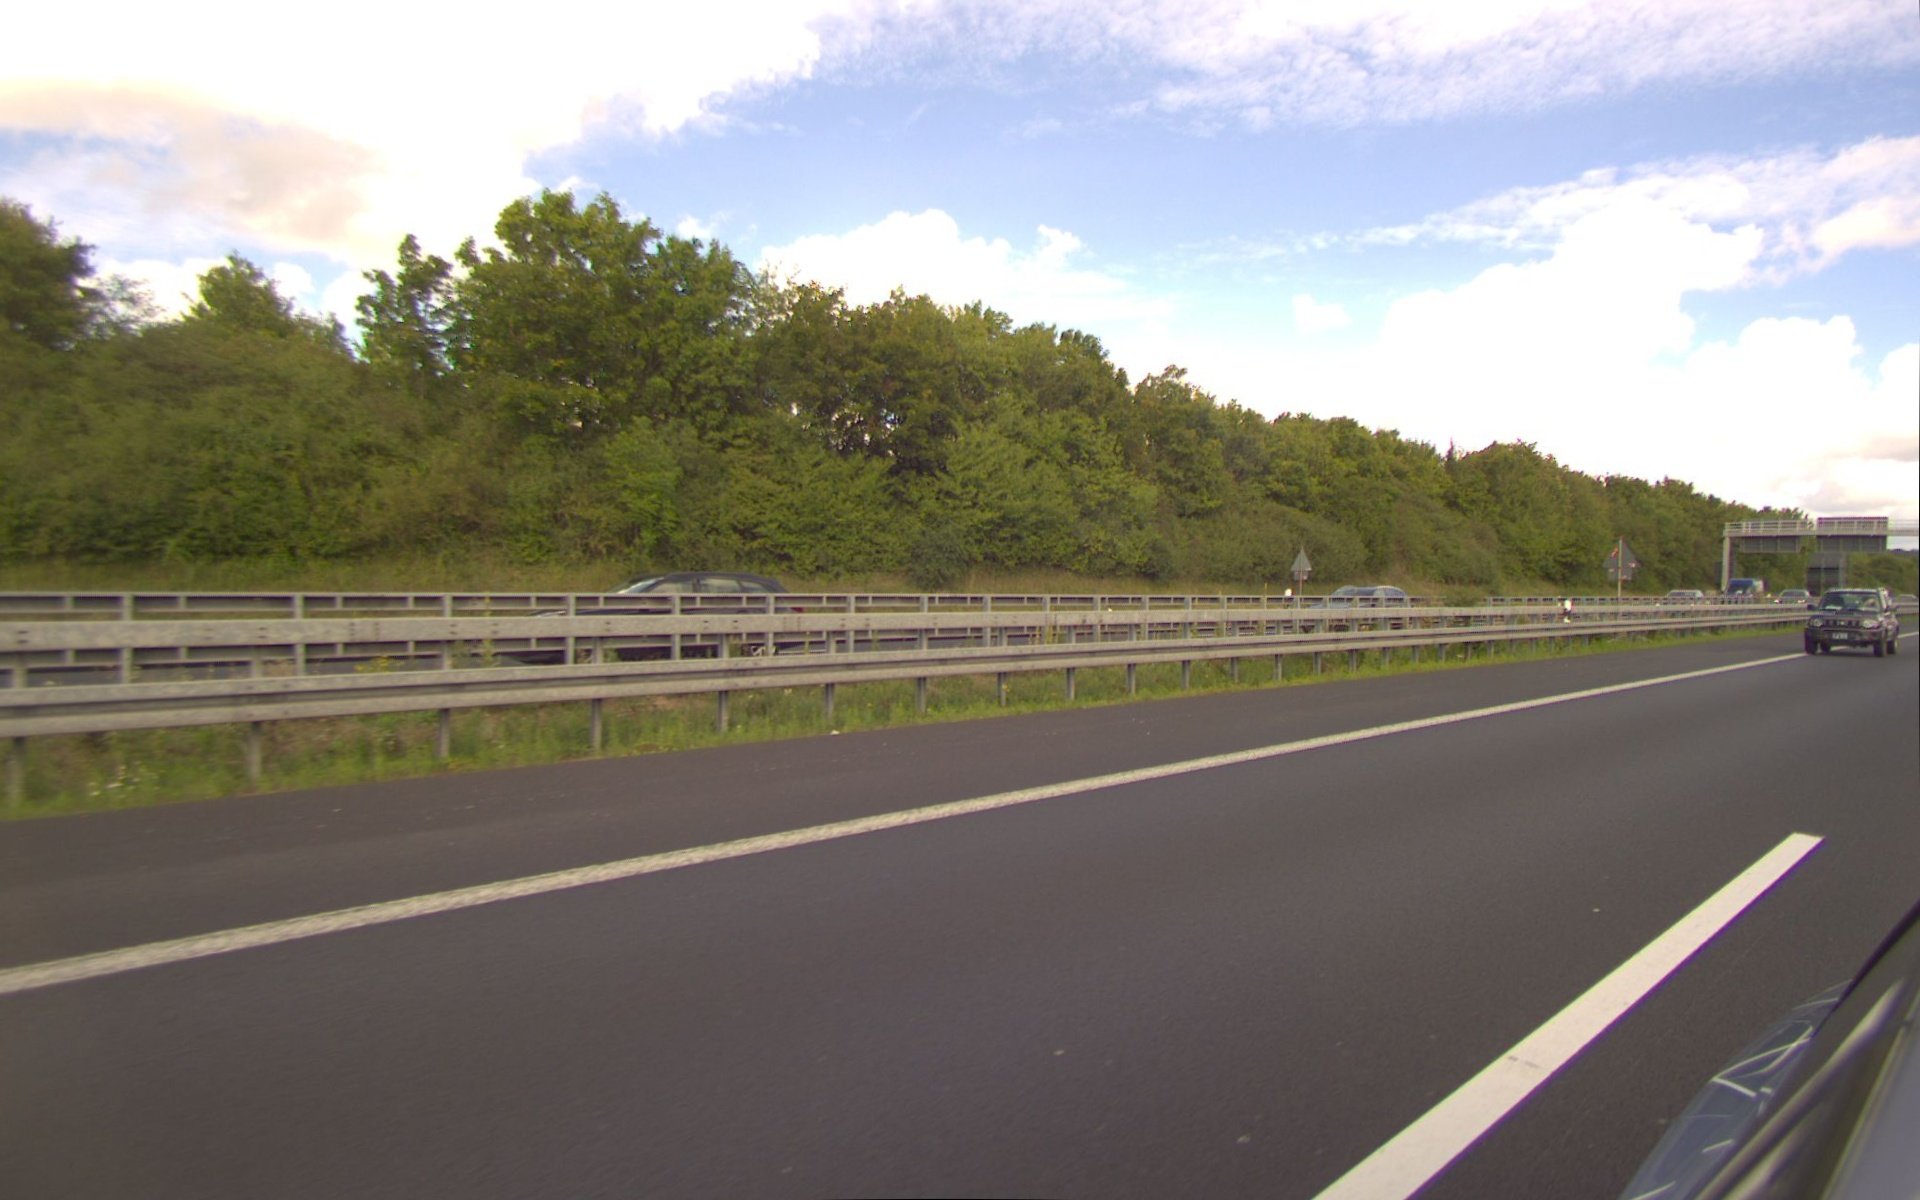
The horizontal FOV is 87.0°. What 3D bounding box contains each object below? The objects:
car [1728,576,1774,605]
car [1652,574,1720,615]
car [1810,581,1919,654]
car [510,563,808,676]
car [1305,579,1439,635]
[{"bbox_3d":[62.833,-0.800,80.366,5.040,2.212,1.997,-1,2,-42],"label":"car"},{"bbox_3d":[38.759,-0.338,54.017,3.930,2.038,1.998,0,3,-41],"label":"car"},{"bbox_3d":[24.010,0.401,26.721,4.132,1.754,1.670,0,2,-40],"label":"car"},{"bbox_3d":[-4.537,0.216,15.522,3.931,1.503,1.997,-1,2,-42],"label":"car"},{"bbox_3d":[12.195,0.167,29.831,4.236,1.503,1.997,-1,2,-42],"label":"car"}]
